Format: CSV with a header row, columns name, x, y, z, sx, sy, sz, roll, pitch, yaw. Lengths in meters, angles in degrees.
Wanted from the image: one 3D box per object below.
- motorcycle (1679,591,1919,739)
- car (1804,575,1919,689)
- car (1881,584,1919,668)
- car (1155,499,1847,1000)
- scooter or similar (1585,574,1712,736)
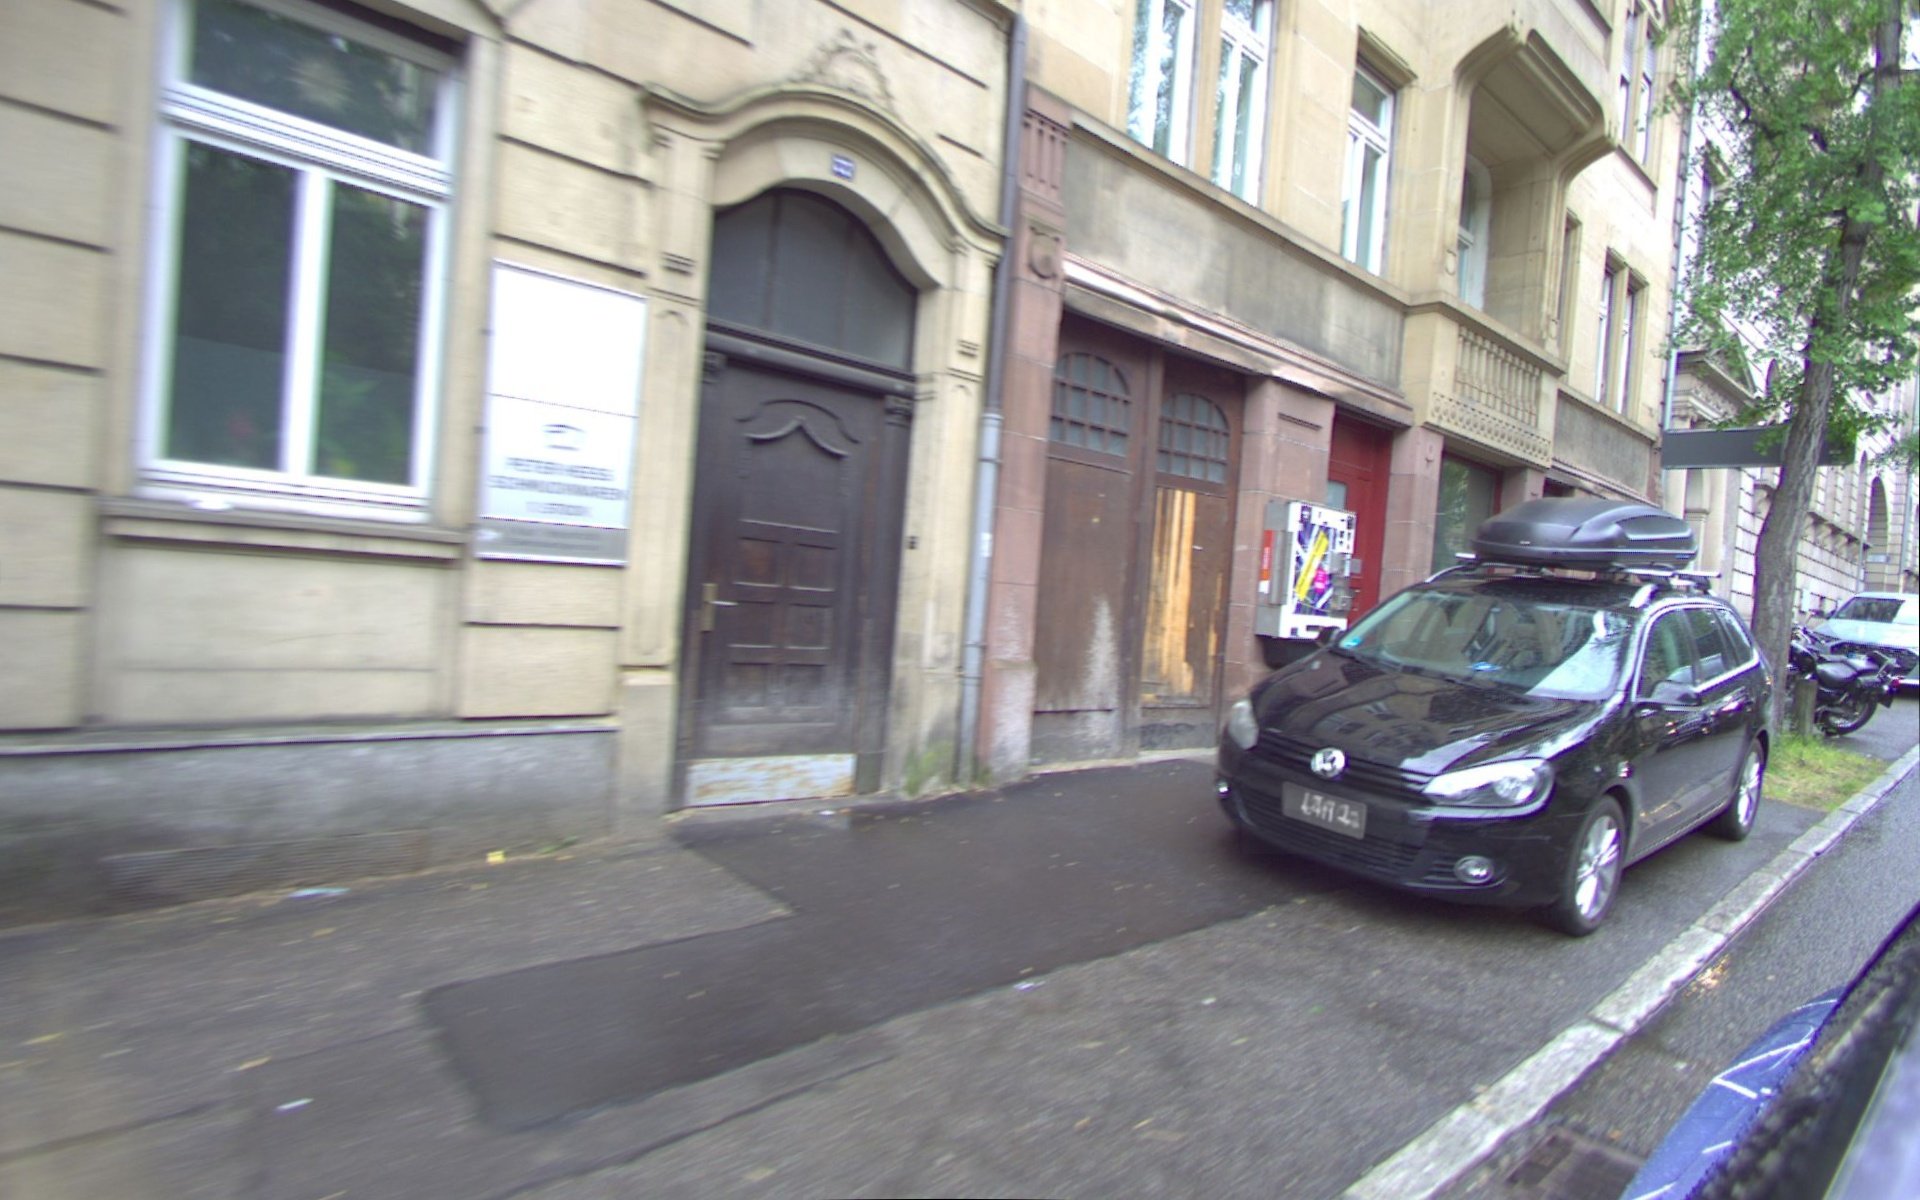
name,x,y,z,sx,sy,sz,roll,pitch,yaw
motorcycle,8.451,0.635,9.973,2.232,1.258,0.525,4,3,-1
car,14.462,0.443,15.335,3.967,1.469,1.795,0,5,-40
car,18.456,0.497,18.800,3.124,1.466,1.495,0,5,-40
car,3.095,0.455,5.436,4.025,1.670,1.765,0,6,-40
scooter or similar,6.204,0.456,9.107,1.182,1.334,0.594,0,3,-41
